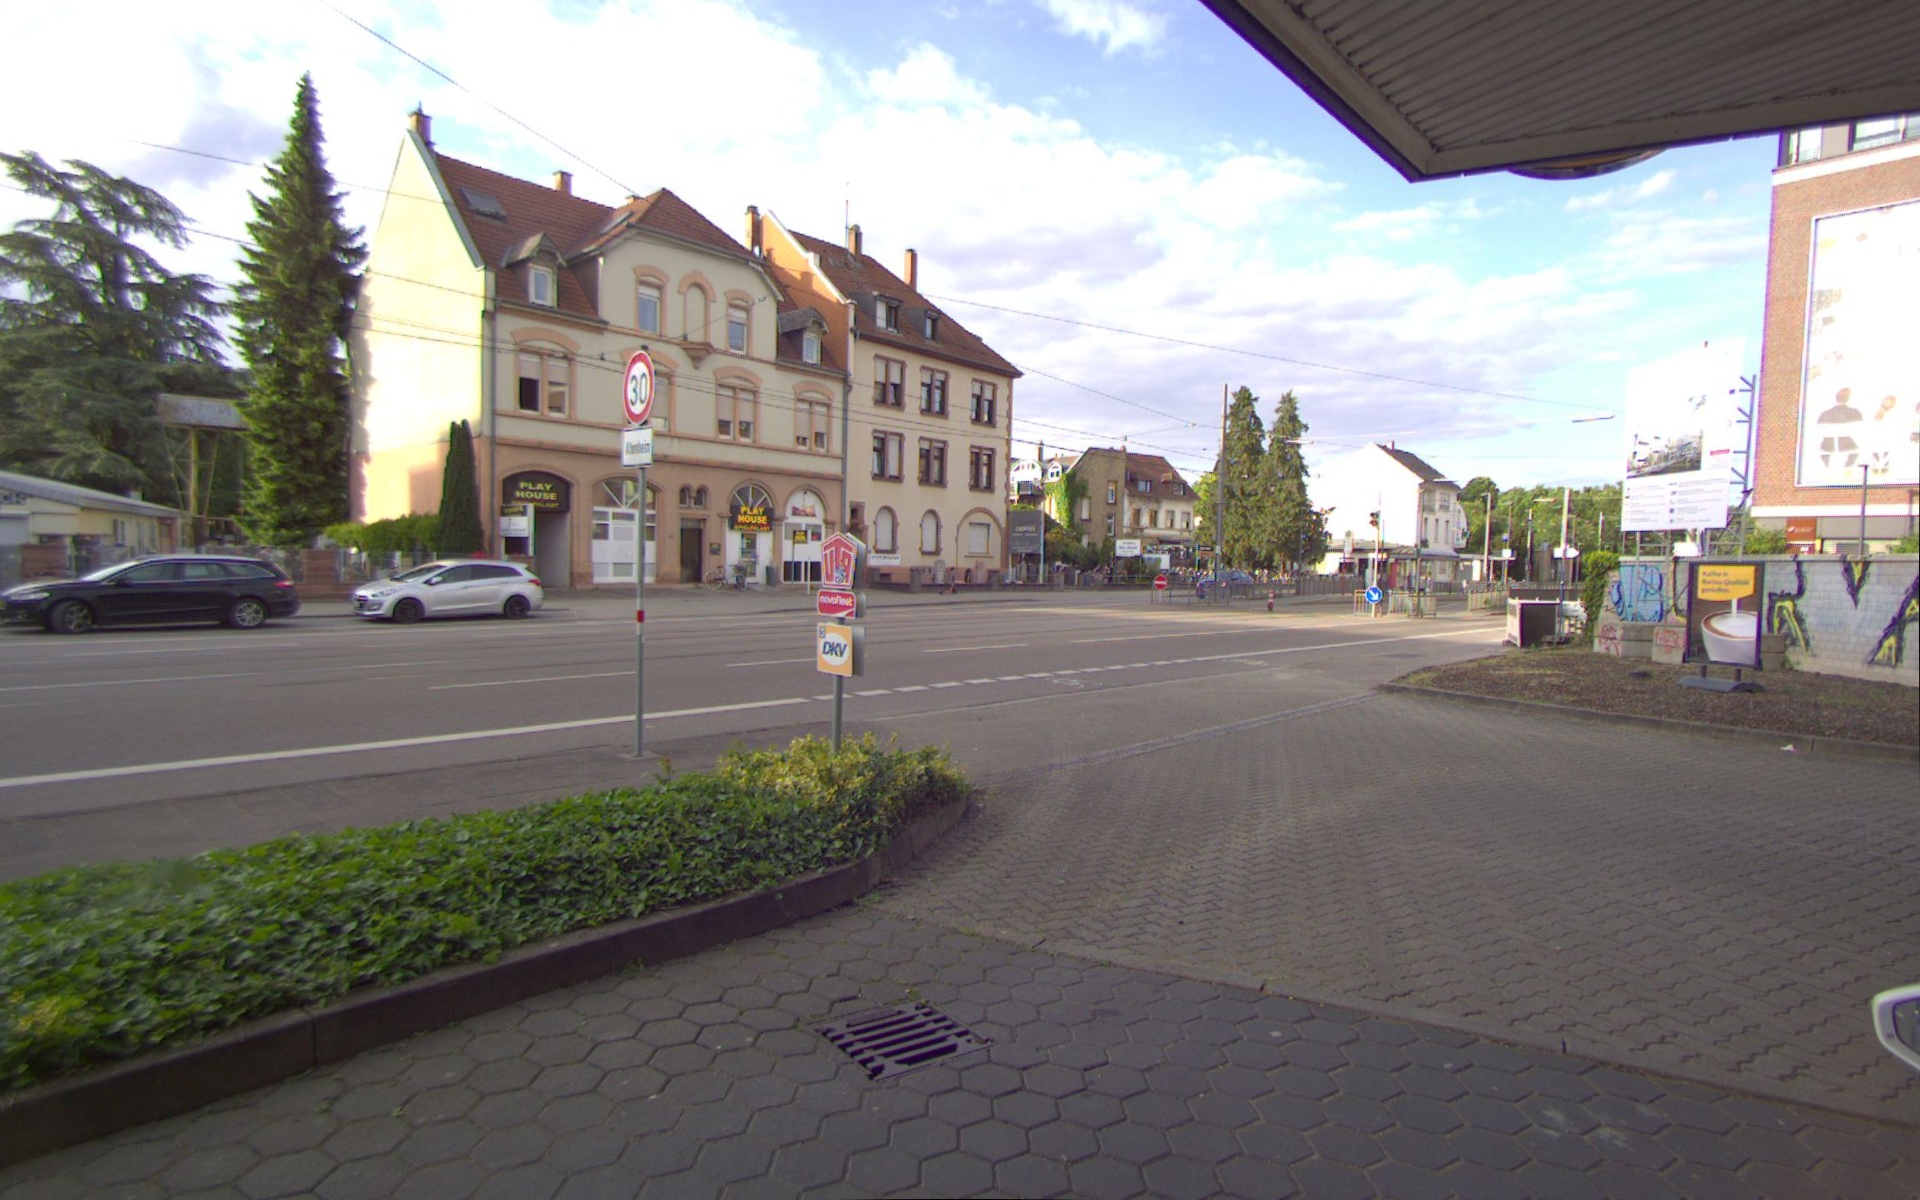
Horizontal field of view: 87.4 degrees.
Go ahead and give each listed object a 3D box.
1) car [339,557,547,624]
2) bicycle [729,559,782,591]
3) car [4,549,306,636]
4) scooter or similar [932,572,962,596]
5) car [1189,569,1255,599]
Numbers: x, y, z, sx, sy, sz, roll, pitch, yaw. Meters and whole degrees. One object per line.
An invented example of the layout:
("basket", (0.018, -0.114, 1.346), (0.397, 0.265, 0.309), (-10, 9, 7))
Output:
("car", (-12.935, -0.253, 25.346), (1.718, 1.502, 4.357), (3, 2, 41))
("bicycle", (-8.255, -1.005, 40.618), (0.741, 1.219, 2.011), (8, 5, 41))
("car", (-16.493, -0.177, 20.808), (1.827, 1.542, 4.642), (5, 4, 40))
("scooter or similar", (-0.574, -0.718, 45.084), (0.437, 1.006, 1.460), (6, 5, 41))
("car", (13.871, -0.858, 53.026), (1.835, 1.489, 4.120), (3, 3, 38))
